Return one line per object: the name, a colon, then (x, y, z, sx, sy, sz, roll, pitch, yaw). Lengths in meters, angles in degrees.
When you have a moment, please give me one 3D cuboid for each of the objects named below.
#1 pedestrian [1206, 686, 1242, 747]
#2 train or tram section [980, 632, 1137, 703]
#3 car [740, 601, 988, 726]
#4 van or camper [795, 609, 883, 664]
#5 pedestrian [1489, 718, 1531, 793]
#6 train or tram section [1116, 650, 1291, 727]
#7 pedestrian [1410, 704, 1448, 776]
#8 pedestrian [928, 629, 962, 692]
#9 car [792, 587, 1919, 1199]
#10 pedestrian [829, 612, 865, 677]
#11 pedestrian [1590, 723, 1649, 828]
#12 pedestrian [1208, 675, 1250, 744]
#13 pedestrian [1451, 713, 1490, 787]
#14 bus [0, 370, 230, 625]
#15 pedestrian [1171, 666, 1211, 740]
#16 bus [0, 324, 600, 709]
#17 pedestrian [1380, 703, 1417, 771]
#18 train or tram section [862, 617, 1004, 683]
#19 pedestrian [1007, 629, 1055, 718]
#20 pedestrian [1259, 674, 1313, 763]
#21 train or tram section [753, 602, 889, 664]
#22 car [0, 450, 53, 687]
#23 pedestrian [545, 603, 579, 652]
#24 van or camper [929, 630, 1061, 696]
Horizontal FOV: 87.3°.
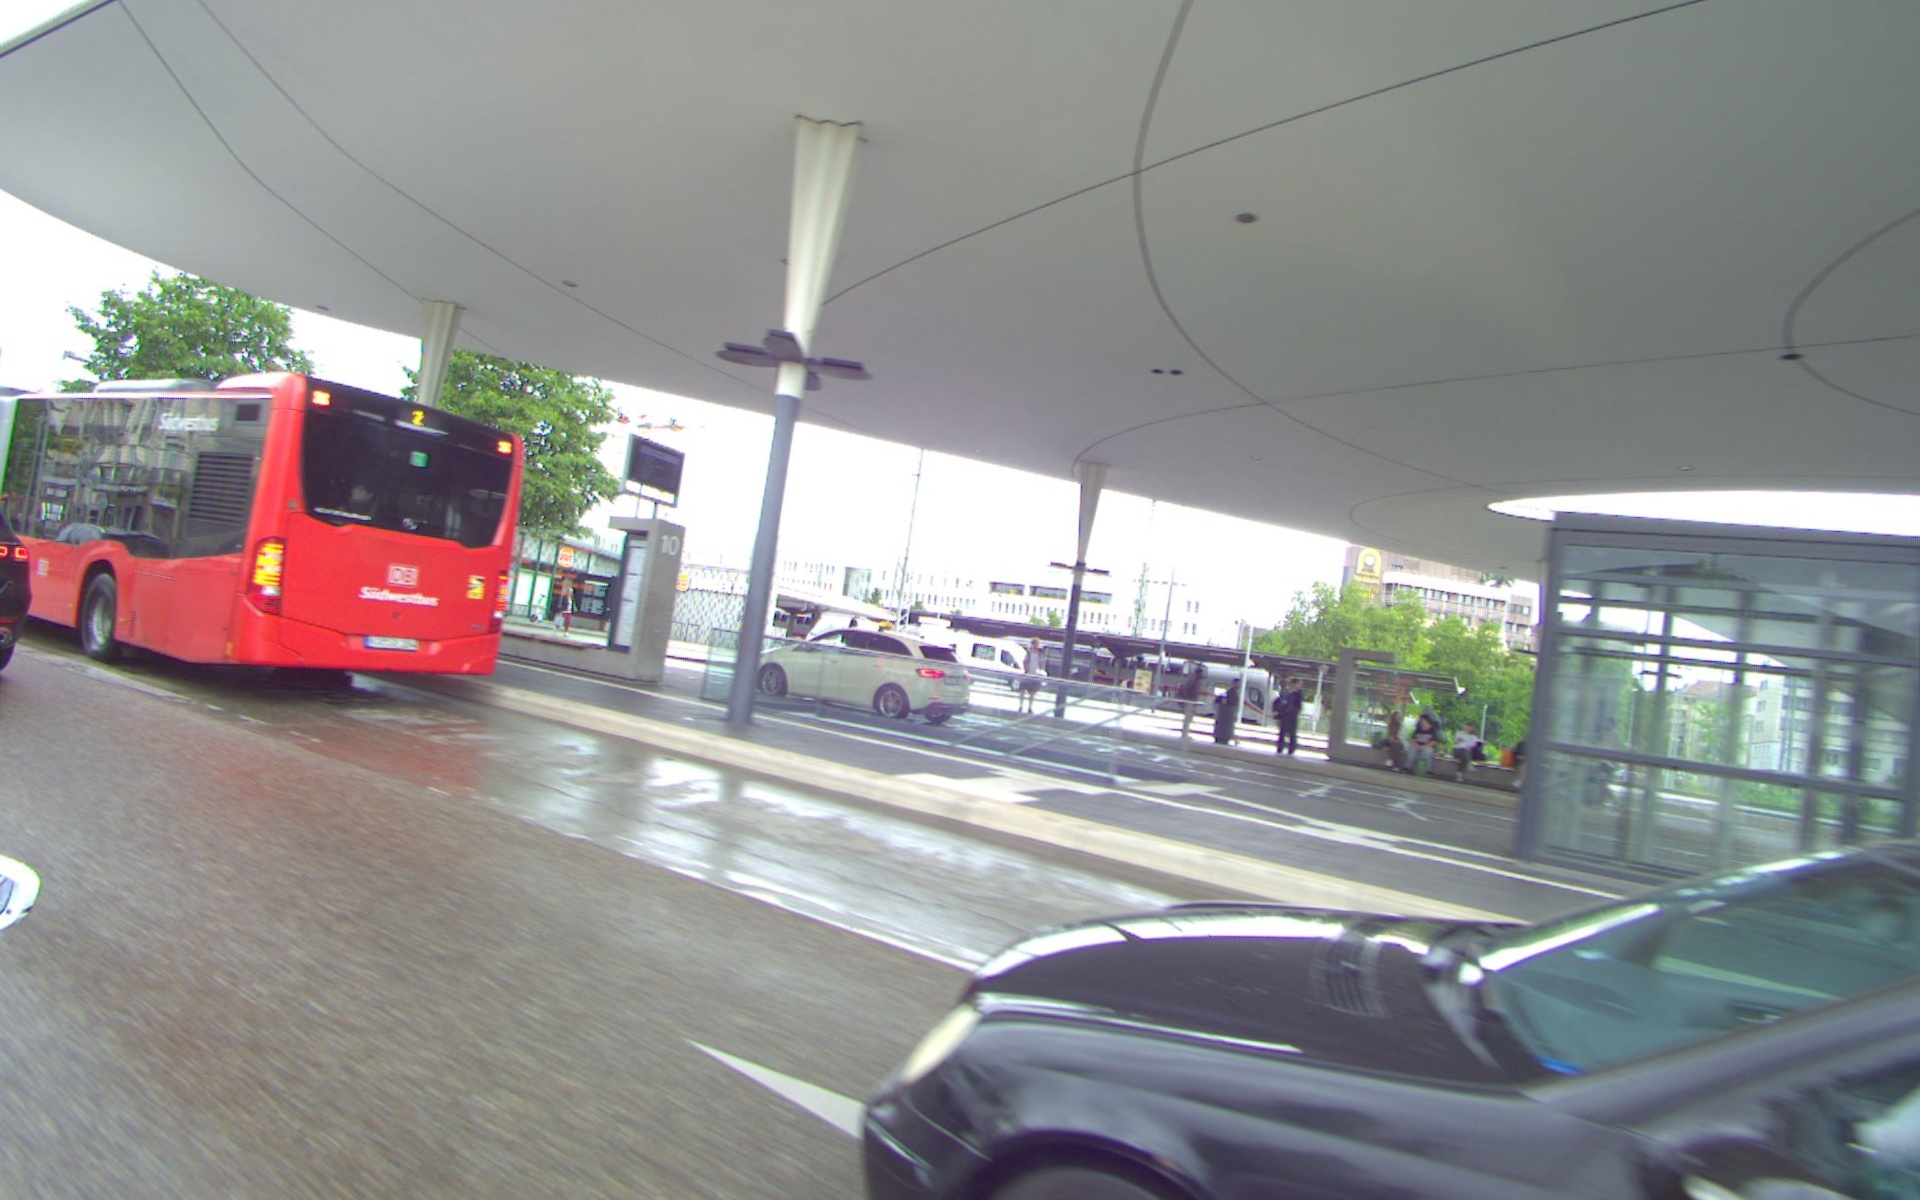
pedestrian: (6.328, 2.790, 24.117, 0.469, 1.403, 0.559, 9, -7, -24)
train or tram section: (7.503, 5.158, 77.745, 11.419, 3.715, 3.146, 6, -6, 30)
car: (-1.804, 1.152, 18.582, 4.168, 1.680, 1.718, 6, -4, 30)
van or camper: (-6.206, 1.941, 52.167, 2.073, 2.294, 4.703, 6, -3, 26)
pedestrian: (11.413, 3.214, 20.885, 0.625, 1.460, 0.562, 6, -3, 27)
train or tram section: (17.321, 6.290, 72.019, 11.419, 3.712, 3.146, 6, -7, 30)
pedestrian: (10.140, 3.022, 21.737, 0.603, 1.460, 0.562, 6, -3, 27)
pedestrian: (-0.420, 1.659, 27.577, 0.759, 1.592, 0.583, 7, -7, -2)
car: (1.962, 1.050, 1.695, 4.230, 1.479, 1.702, 8, -1, 29)
pedestrian: (-2.966, 1.173, 26.361, 0.573, 1.592, 0.772, 9, -7, -19)
pedestrian: (11.557, 3.059, 17.648, 0.602, 1.710, 0.562, 7, -3, 24)
pedestrian: (6.682, 2.727, 24.985, 0.759, 1.592, 0.583, 7, -7, -2)
pedestrian: (10.852, 3.172, 21.389, 0.603, 1.460, 0.562, 6, -3, 27)
bus: (-16.593, -1.813, 17.188, 8.702, 3.326, 3.298, 6, -2, 31)
pedestrian: (5.312, 2.361, 23.096, 0.698, 1.600, 0.600, 5, -1, 21)
bus: (-9.719, -1.068, 12.943, 10.697, 3.329, 3.293, 6, -2, 31)
pedestrian: (9.627, 2.998, 22.074, 0.603, 1.376, 0.562, 6, -3, 27)
train or tram section: (-2.344, 4.072, 83.527, 11.419, 3.693, 3.146, 6, -6, 30)
pedestrian: (1.717, 1.784, 24.270, 0.720, 2.031, 0.665, 11, -8, -33)
pedestrian: (6.976, 2.508, 21.507, 0.754, 1.730, 0.710, 9, 3, 28)
train or tram section: (-12.461, 2.886, 89.441, 12.115, 3.693, 3.146, 6, -6, 30)
car: (-10.120, -0.537, 8.673, 4.791, 1.898, 1.961, 6, -1, 31)
pedestrian: (-13.753, 0.940, 34.764, 0.663, 1.592, 0.606, 1, -8, 36)
van or camper: (1.731, 3.166, 50.771, 6.108, 2.536, 2.100, 6, -3, 27)
